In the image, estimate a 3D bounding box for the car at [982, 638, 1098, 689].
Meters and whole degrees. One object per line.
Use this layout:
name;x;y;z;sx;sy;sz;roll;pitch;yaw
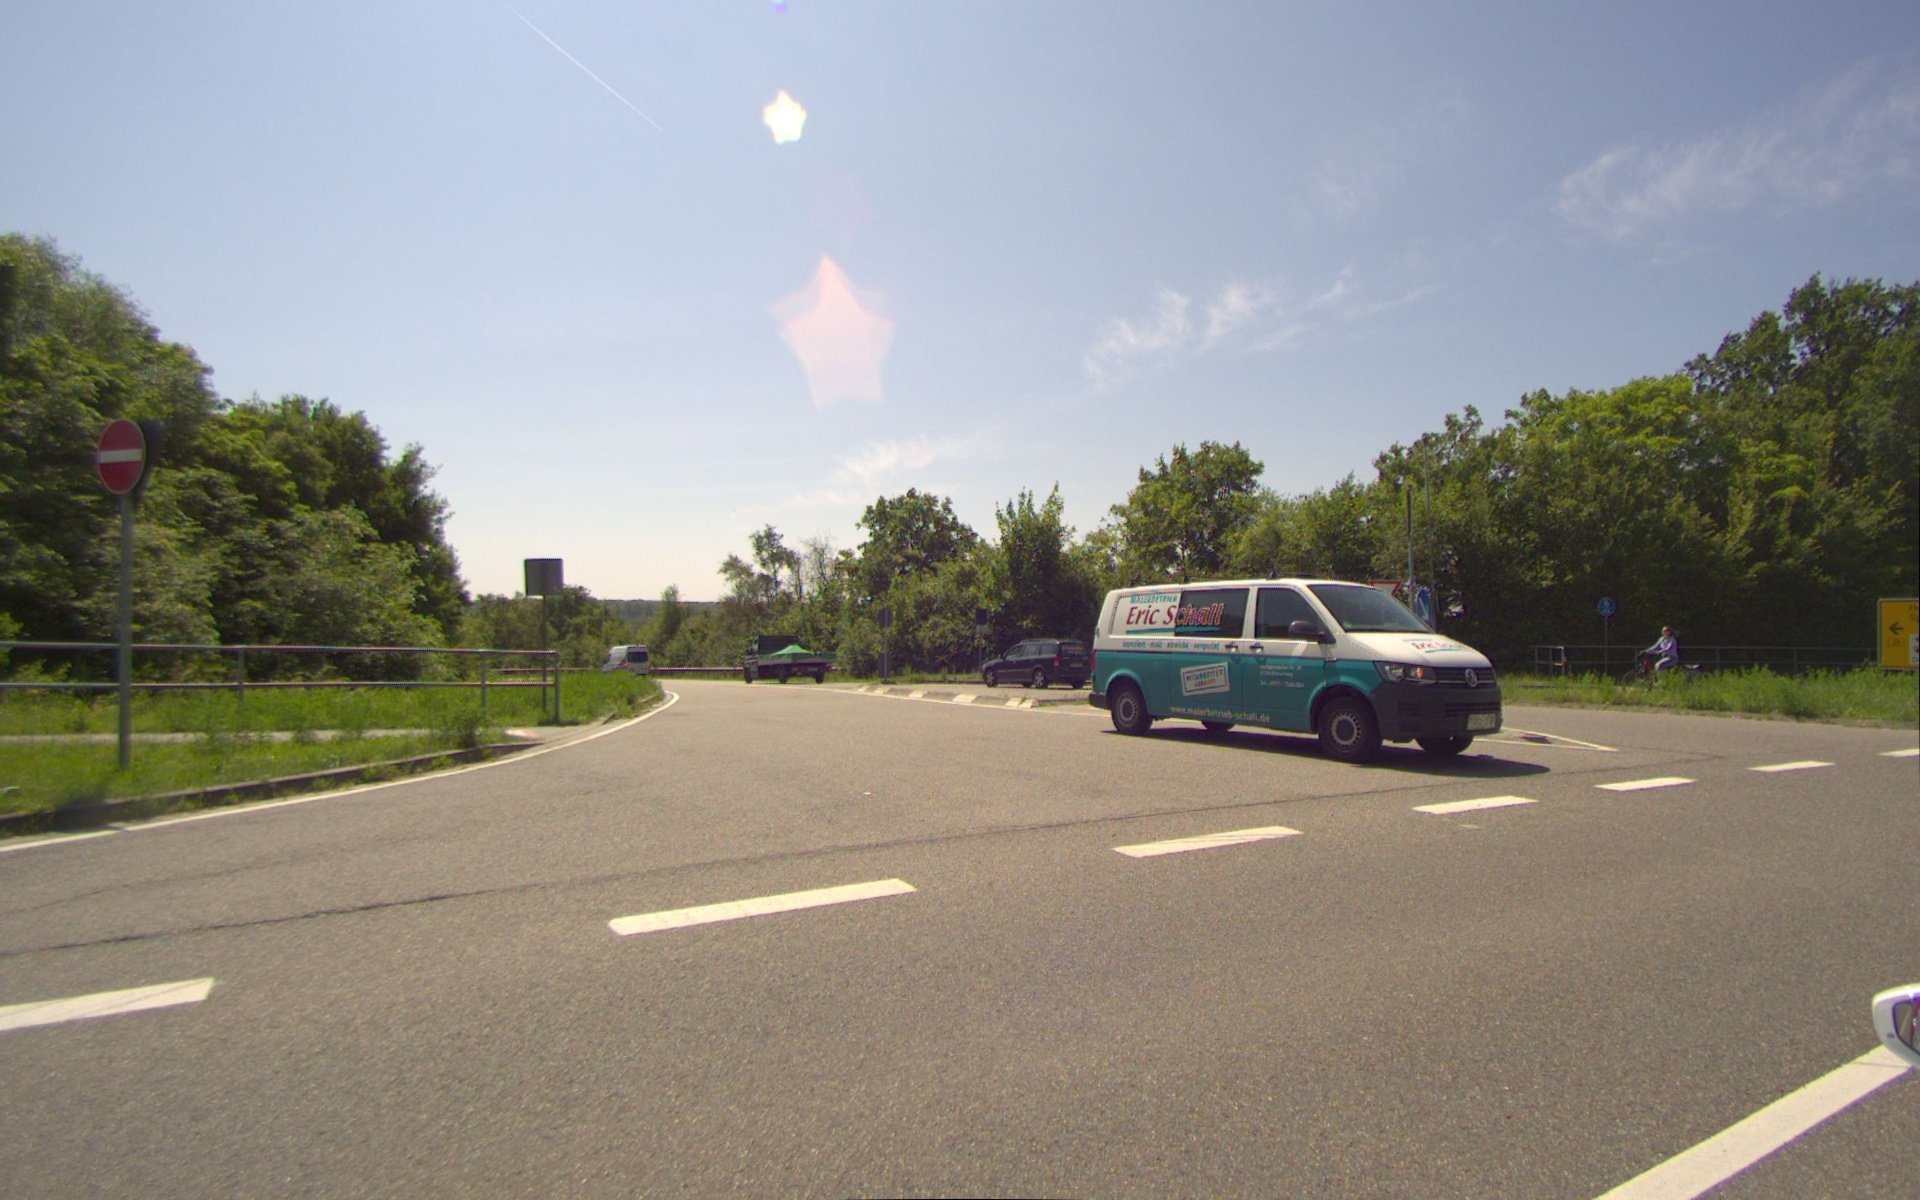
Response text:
car;2.436;1.950;31.482;1.708;1.476;3.763;1;-2;-33

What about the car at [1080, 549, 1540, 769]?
car;3.823;0.664;12.093;1.978;2.054;5.144;1;-3;-31

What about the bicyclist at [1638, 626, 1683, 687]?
bicyclist;16.332;1.299;23.426;0.597;1.381;0.690;1;-1;5

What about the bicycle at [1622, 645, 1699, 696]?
bicycle;16.321;1.635;23.415;1.452;1.128;0.437;1;-1;5

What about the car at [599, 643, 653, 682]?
car;-25.443;4.791;76.468;2.093;2.887;5.950;2;-4;-37

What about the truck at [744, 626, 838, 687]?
truck;-7.951;2.646;46.601;2.121;2.598;6.588;2;-4;-30
